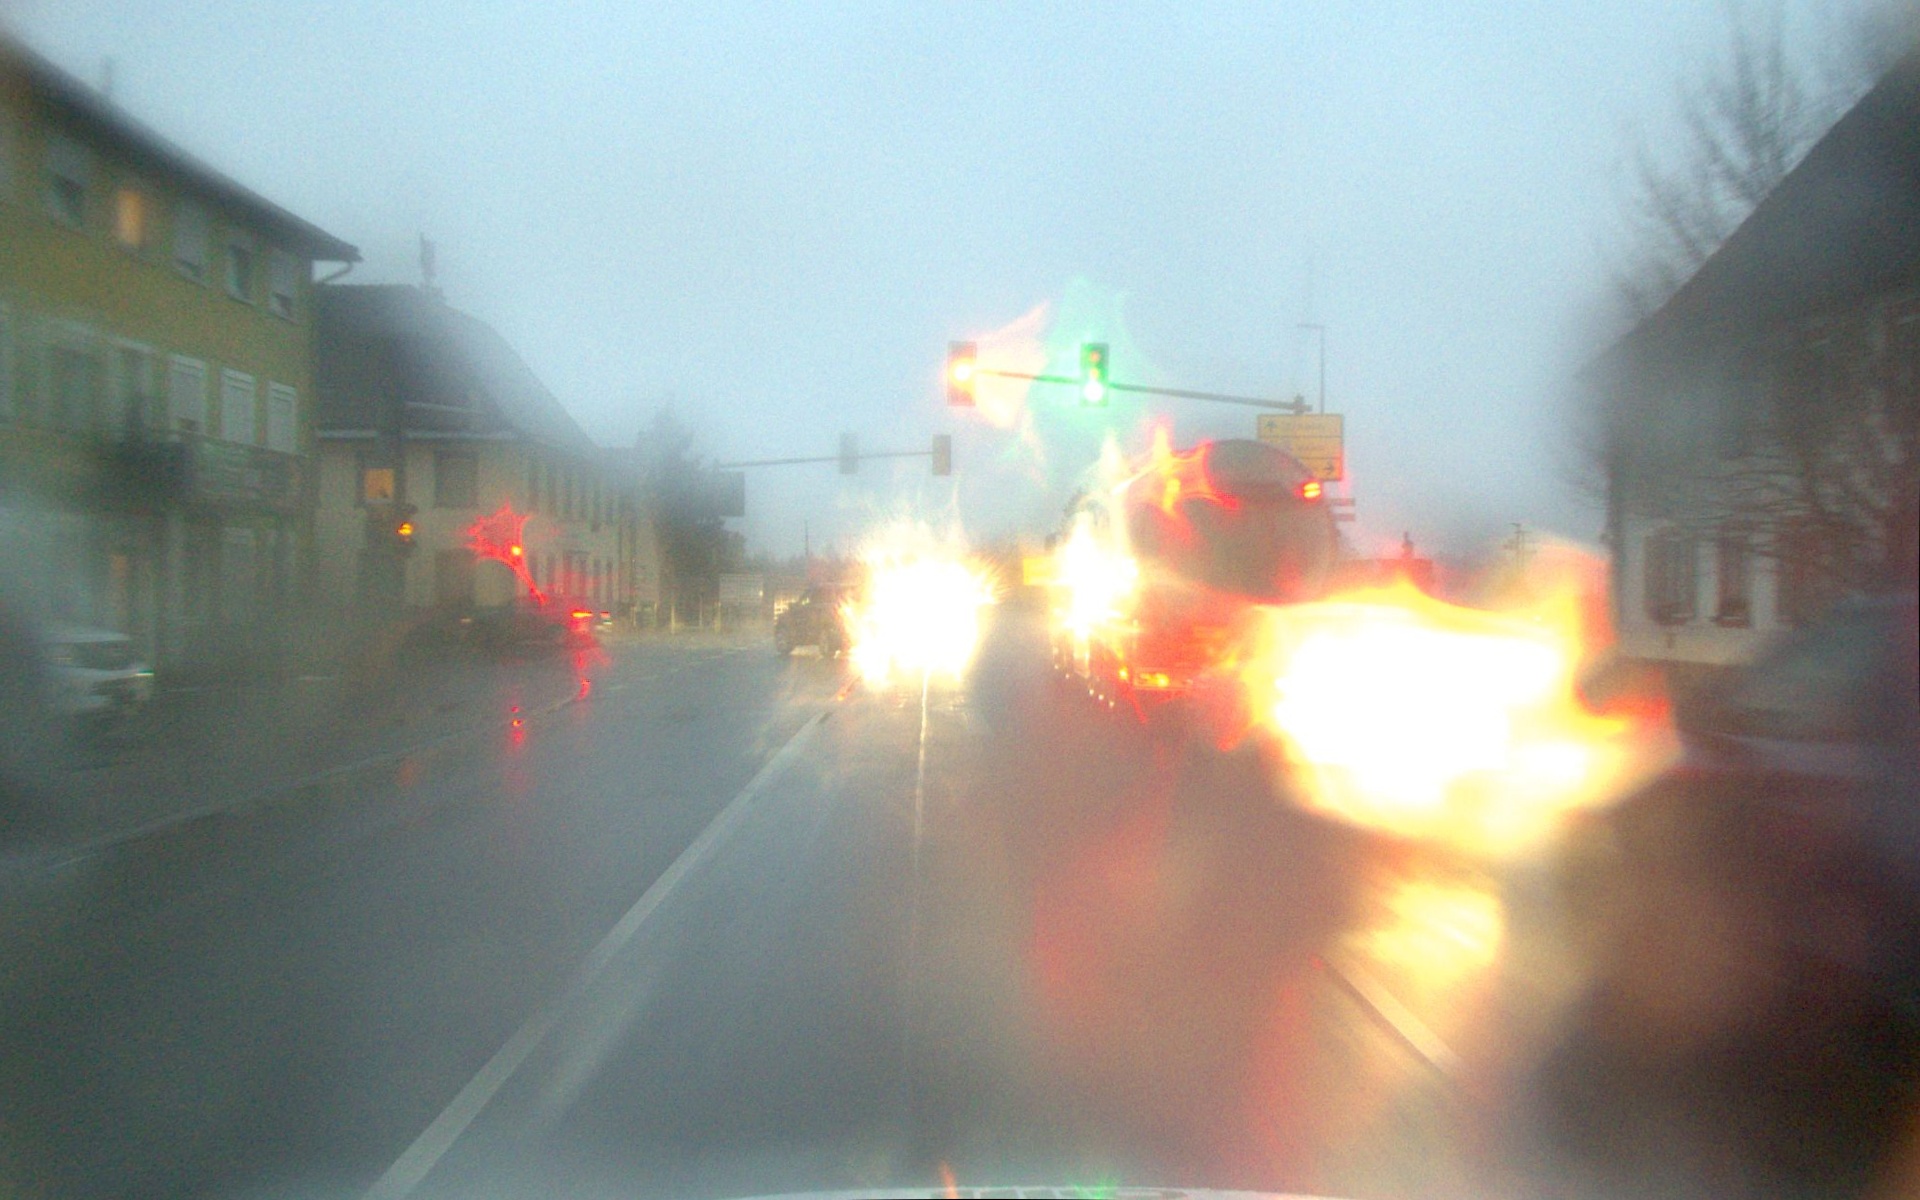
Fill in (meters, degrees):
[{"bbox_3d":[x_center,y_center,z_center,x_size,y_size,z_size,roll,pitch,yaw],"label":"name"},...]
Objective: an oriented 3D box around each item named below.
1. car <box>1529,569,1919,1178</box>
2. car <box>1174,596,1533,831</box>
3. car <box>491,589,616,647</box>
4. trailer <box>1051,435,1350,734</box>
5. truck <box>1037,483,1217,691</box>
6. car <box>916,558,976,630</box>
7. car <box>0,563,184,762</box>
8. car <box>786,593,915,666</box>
[{"bbox_3d":[3.417,0.733,4.932,1.799,1.595,4.503,1,0,-1],"label":"car"},{"bbox_3d":[2.805,0.725,12.773,1.628,1.464,4.380,1,0,-1],"label":"car"},{"bbox_3d":[-11.256,0.487,45.965,3.155,1.534,1.547,1,0,-7],"label":"car"},{"bbox_3d":[2.979,-0.194,23.863,2.437,3.297,10.865,1,0,-1],"label":"trailer"},{"bbox_3d":[2.821,-0.215,29.629,2.412,3.286,6.271,1,0,-1],"label":"truck"},{"bbox_3d":[-0.674,-0.263,72.619,2.353,2.943,6.247,2,0,-2],"label":"car"},{"bbox_3d":[-10.622,0.562,16.199,5.082,1.822,2.000,0,0,1],"label":"car"},{"bbox_3d":[-2.670,0.647,39.186,2.015,1.600,4.680,-1,0,-17],"label":"car"}]
